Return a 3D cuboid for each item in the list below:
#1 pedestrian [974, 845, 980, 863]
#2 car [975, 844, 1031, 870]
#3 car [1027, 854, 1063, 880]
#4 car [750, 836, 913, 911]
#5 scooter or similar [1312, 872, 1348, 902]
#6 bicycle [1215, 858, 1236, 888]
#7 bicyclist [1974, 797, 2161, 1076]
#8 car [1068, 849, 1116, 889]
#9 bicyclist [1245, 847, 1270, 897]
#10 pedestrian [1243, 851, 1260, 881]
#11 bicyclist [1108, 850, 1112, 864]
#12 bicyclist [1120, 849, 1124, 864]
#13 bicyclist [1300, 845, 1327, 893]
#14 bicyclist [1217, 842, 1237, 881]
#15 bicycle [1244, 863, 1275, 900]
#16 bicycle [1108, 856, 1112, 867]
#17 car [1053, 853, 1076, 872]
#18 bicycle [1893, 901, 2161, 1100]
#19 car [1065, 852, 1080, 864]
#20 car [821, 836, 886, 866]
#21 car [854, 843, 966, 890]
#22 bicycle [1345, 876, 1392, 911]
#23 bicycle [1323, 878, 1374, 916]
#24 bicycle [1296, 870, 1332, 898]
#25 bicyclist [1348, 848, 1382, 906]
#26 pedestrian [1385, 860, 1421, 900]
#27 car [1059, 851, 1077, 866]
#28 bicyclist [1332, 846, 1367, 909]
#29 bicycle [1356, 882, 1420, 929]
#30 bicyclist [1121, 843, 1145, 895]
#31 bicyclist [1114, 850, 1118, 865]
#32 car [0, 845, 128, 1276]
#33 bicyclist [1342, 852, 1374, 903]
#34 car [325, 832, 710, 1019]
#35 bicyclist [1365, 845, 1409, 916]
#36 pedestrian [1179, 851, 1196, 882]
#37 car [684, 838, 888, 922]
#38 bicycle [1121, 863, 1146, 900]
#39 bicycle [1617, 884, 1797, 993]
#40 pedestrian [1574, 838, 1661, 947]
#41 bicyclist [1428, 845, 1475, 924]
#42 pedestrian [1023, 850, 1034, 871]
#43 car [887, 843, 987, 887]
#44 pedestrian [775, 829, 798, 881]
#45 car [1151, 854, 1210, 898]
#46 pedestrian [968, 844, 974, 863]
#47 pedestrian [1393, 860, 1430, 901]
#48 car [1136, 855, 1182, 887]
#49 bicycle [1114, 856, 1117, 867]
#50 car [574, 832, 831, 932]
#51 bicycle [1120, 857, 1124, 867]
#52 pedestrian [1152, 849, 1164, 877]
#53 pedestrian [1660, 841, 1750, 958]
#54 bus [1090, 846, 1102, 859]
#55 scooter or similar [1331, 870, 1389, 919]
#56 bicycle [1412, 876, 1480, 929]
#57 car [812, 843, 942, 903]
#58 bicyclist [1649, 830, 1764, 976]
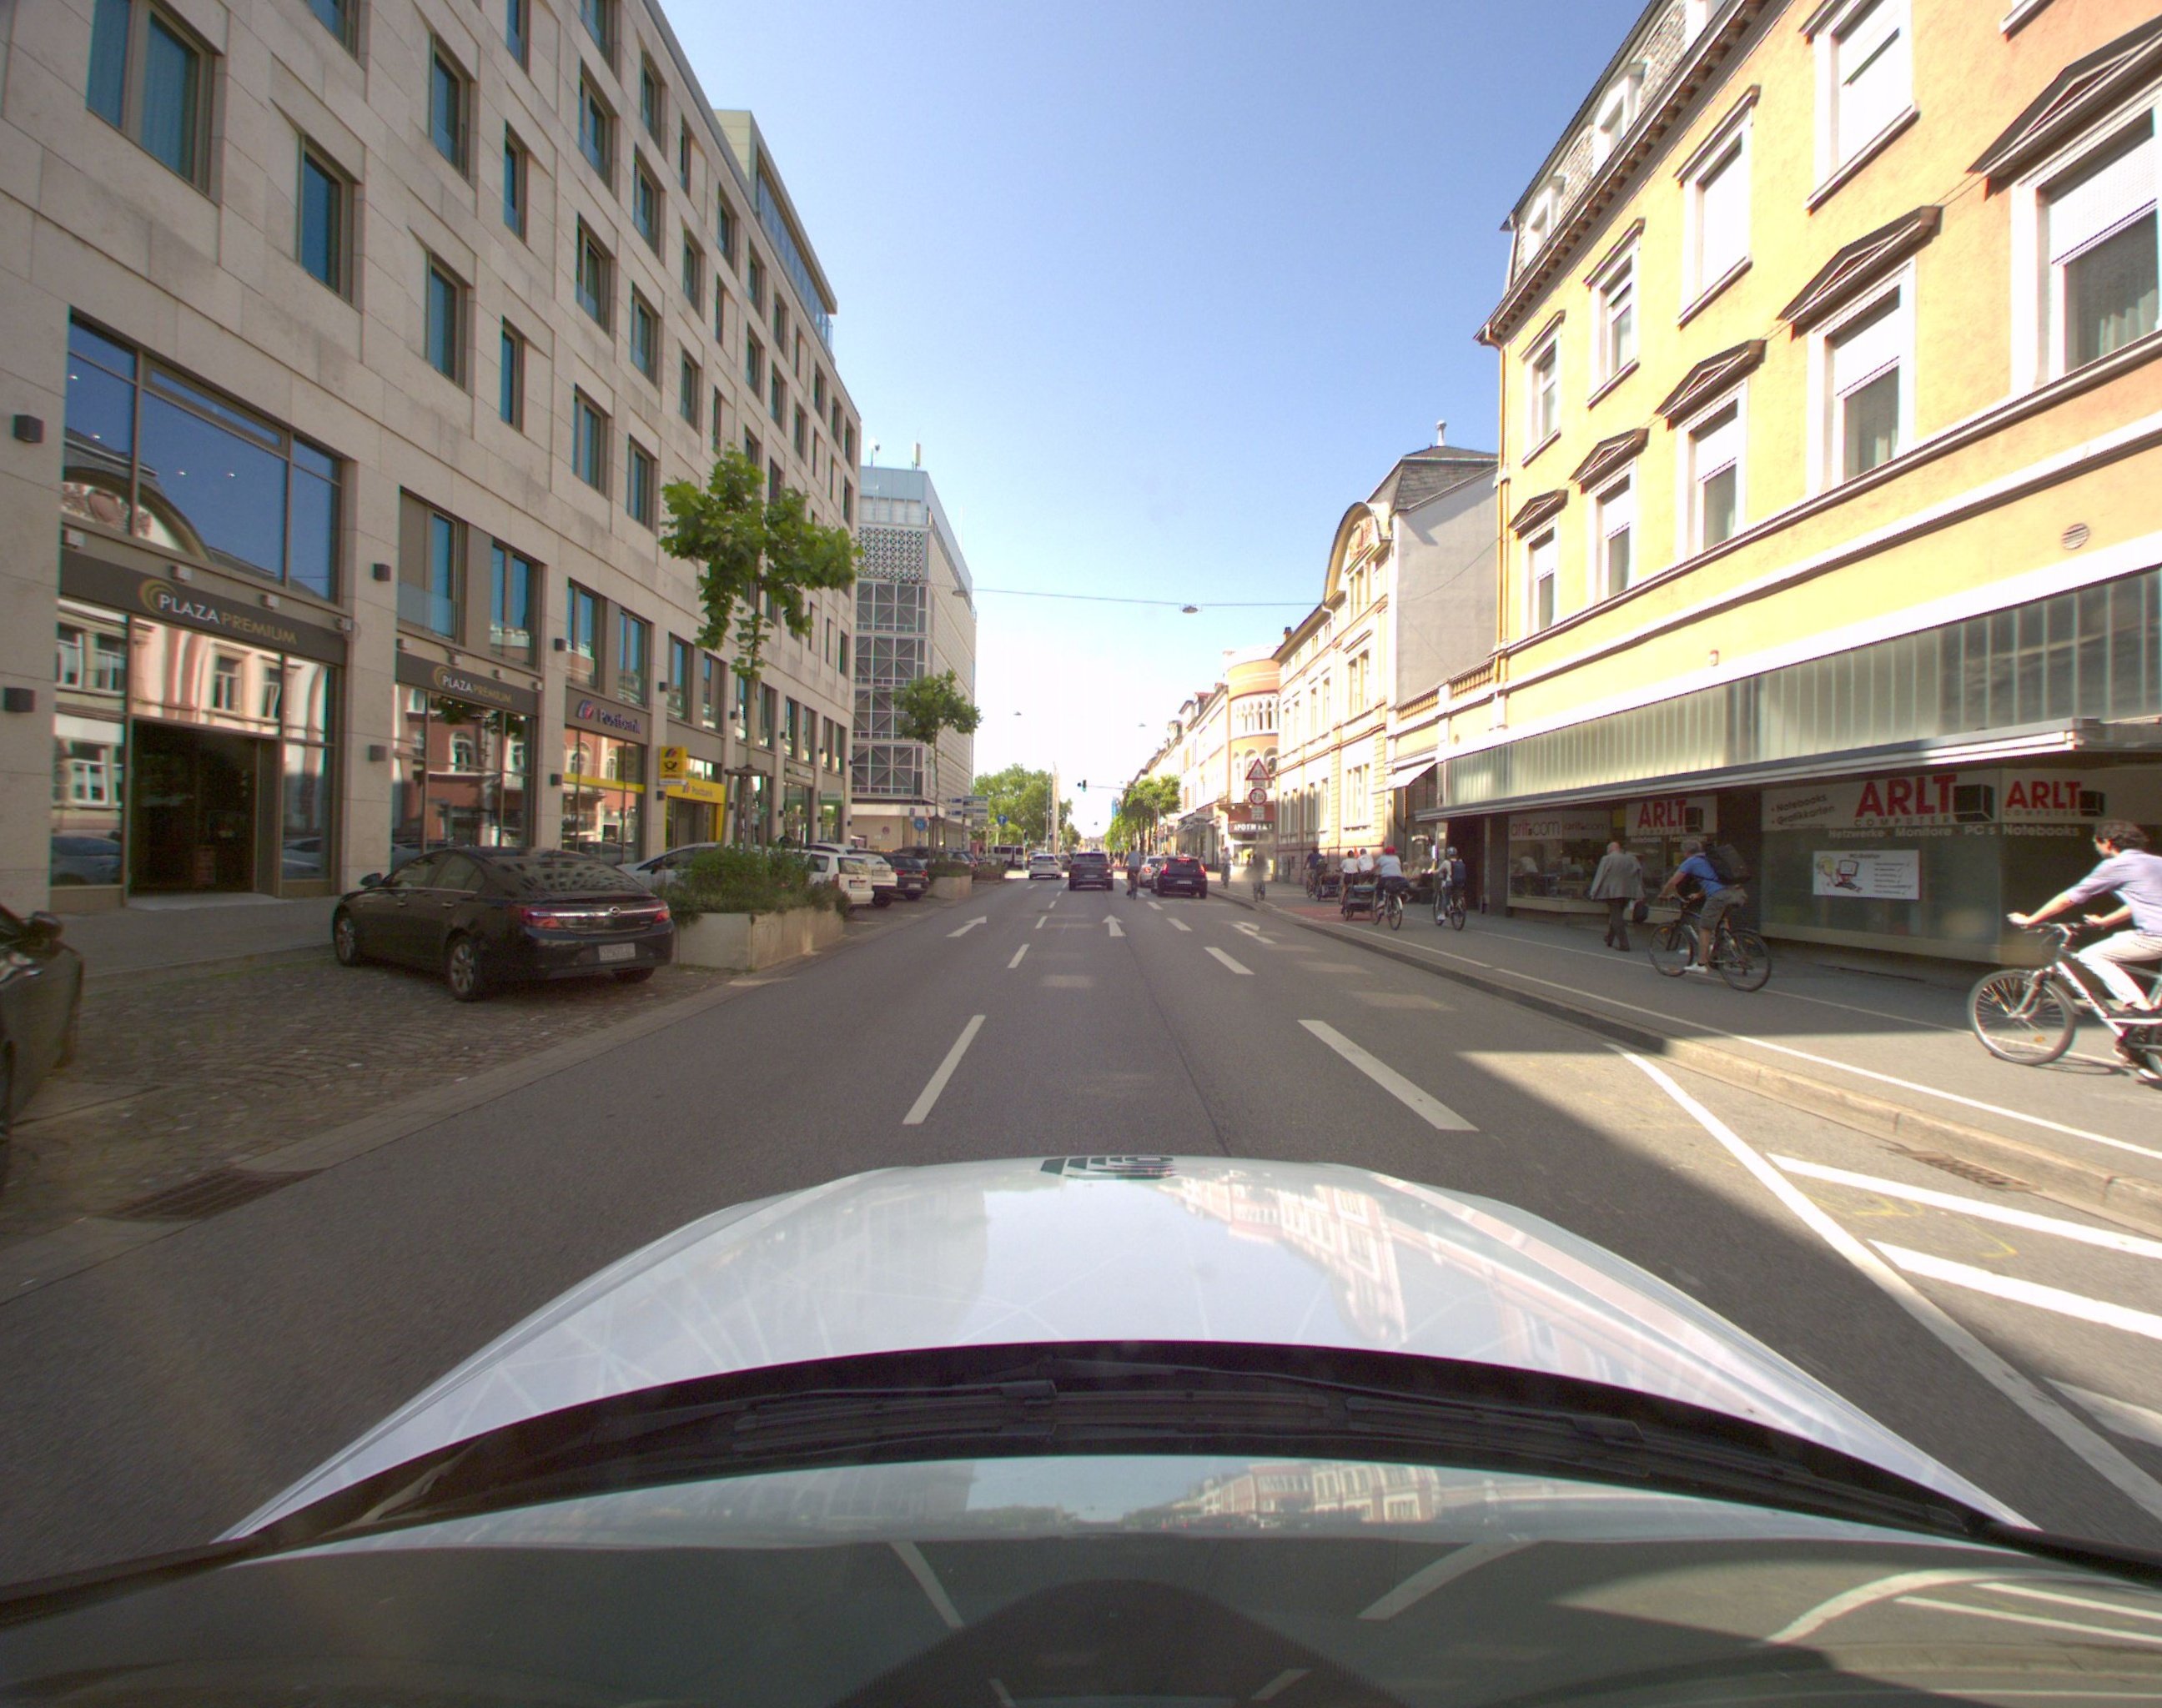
[{"bbox_3d":[-11.188,0.014,87.993,0.623,2.013,0.571,0,0,-6],"label":"pedestrian"},{"bbox_3d":[-6.621,0.264,69.183,4.664,2.004,1.953,2,-2,40],"label":"car"},{"bbox_3d":[-2.012,0.702,46.840,1.857,1.441,3.999,0,0,0],"label":"car"},{"bbox_3d":[-6.746,0.498,21.988,3.952,1.568,1.709,5,0,25],"label":"car"},{"bbox_3d":[8.035,1.049,26.366,0.849,0.919,1.165,0,0,2],"label":"scooter or similar"},{"bbox_3d":[6.372,0.824,35.966,0.553,1.209,2.243,2,1,1],"label":"bicycle"},{"bbox_3d":[7.095,0.523,5.678,0.644,1.769,1.013,0,0,1],"label":"bicyclist"},{"bbox_3d":[0.430,0.605,33.440,1.827,1.527,4.000,1,-1,0],"label":"car"},{"bbox_3d":[6.031,0.617,27.882,0.692,1.674,0.835,1,-3,1],"label":"bicyclist"},{"bbox_3d":[9.988,0.692,47.801,0.790,1.720,0.728,0,0,-5],"label":"pedestrian"},{"bbox_3d":[3.284,0.323,91.223,0.418,1.630,0.709,0,0,2],"label":"bicyclist"},{"bbox_3d":[4.515,0.318,89.768,0.418,1.630,0.709,0,0,2],"label":"bicyclist"},{"bbox_3d":[8.013,0.504,28.077,0.707,1.595,0.964,0,0,2],"label":"bicyclist"},{"bbox_3d":[6.440,0.313,35.901,0.692,1.673,0.836,3,0,1],"label":"bicyclist"},{"bbox_3d":[6.073,0.917,27.845,0.553,1.120,2.243,3,1,1],"label":"bicycle"},{"bbox_3d":[3.269,0.827,91.329,0.418,1.135,1.911,0,0,2],"label":"bicycle"},{"bbox_3d":[-1.271,0.622,63.608,1.737,1.441,3.999,0,0,0],"label":"car"},{"bbox_3d":[7.067,0.973,5.782,0.553,1.120,2.073,-1,1,1],"label":"bicycle"},{"bbox_3d":[-1.052,0.470,98.015,1.737,1.441,3.999,0,0,0],"label":"car"},{"bbox_3d":[-15.704,-0.227,56.273,3.978,2.013,1.932,0,0,-4],"label":"car"},{"bbox_3d":[-6.703,0.476,32.310,3.976,1.500,1.716,5,0,-2],"label":"car"},{"bbox_3d":[7.960,1.083,22.637,0.644,0.879,2.104,0,0,2],"label":"bicycle"},{"bbox_3d":[7.001,1.101,21.424,0.644,0.879,2.390,0,0,2],"label":"bicycle"},{"bbox_3d":[8.005,1.025,28.061,0.737,0.879,2.139,0,0,2],"label":"bicycle"},{"bbox_3d":[7.937,0.625,22.773,0.655,1.595,0.921,0,0,2],"label":"bicyclist"},{"bbox_3d":[10.379,0.830,26.238,0.931,1.269,0.568,-2,0,6],"label":"pedestrian"},{"bbox_3d":[-1.238,0.452,81.863,1.737,1.441,3.999,0,0,0],"label":"car"},{"bbox_3d":[7.013,0.604,21.302,0.629,1.595,0.921,0,-1,2],"label":"bicyclist"},{"bbox_3d":[6.518,1.063,17.396,0.644,0.879,2.104,0,0,2],"label":"bicycle"},{"bbox_3d":[1.744,0.487,27.232,0.692,1.673,0.916,3,1,1],"label":"bicyclist"},{"bbox_3d":[3.876,0.424,91.069,0.418,1.630,0.669,0,0,2],"label":"bicyclist"},{"bbox_3d":[-6.216,0.726,3.866,4.594,1.408,1.918,3,1,44],"label":"car"},{"bbox_3d":[6.974,0.582,20.519,0.621,1.248,0.608,0,0,2],"label":"bicyclist"},{"bbox_3d":[-6.377,0.625,9.117,4.300,1.513,1.844,3,0,30],"label":"car"},{"bbox_3d":[6.495,0.549,17.317,0.622,1.476,0.890,0,0,2],"label":"bicyclist"},{"bbox_3d":[6.311,0.750,48.210,0.655,1.809,0.723,1,0,-27],"label":"pedestrian"},{"bbox_3d":[-6.652,0.551,18.460,3.956,1.490,1.791,4,0,17],"label":"car"},{"bbox_3d":[1.744,0.899,27.156,0.662,1.120,2.243,3,1,1],"label":"bicycle"},{"bbox_3d":[7.564,0.963,9.989,0.644,1.120,2.103,0,0,1],"label":"bicycle"},{"bbox_3d":[8.786,0.619,13.371,0.875,1.718,0.835,0,-1,1],"label":"pedestrian"},{"bbox_3d":[7.732,0.615,17.029,0.580,1.595,0.921,0,0,2],"label":"bicyclist"},{"bbox_3d":[-4.051,0.504,62.844,0.616,1.615,0.545,2,-2,-30],"label":"pedestrian"},{"bbox_3d":[-6.280,0.476,35.742,3.976,1.545,1.716,5,0,-2],"label":"car"},{"bbox_3d":[-11.447,0.045,31.689,0.621,2.013,0.701,0,0,1],"label":"pedestrian"},{"bbox_3d":[3.607,0.781,30.102,1.815,1.409,3.188,3,1,1],"label":"car"},{"bbox_3d":[-11.842,-0.018,87.751,0.623,2.013,0.571,0,0,-6],"label":"pedestrian"},{"bbox_3d":[10.385,0.825,25.610,0.931,1.269,0.568,-2,0,6],"label":"pedestrian"},{"bbox_3d":[3.543,0.744,37.658,1.815,1.385,4.001,0,0,1],"label":"car"},{"bbox_3d":[3.857,0.846,91.003,0.418,1.135,1.911,0,0,2],"label":"bicycle"},{"bbox_3d":[-7.083,0.520,15.594,3.979,1.500,1.715,5,0,-4],"label":"car"},{"bbox_3d":[4.512,0.872,89.683,0.418,1.135,1.911,0,0,2],"label":"bicycle"},{"bbox_3d":[4.906,0.560,51.711,0.722,1.809,0.656,0,0,11],"label":"pedestrian"},{"bbox_3d":[9.352,0.658,12.241,0.644,1.684,0.945,0,0,1],"label":"pedestrian"},{"bbox_3d":[4.276,-0.361,228.767,2.763,3.605,8.964,0,0,-3],"label":"bus"},{"bbox_3d":[6.710,0.959,19.681,0.867,1.122,1.621,-1,-2,2],"label":"scooter or similar"},{"bbox_3d":[7.663,0.984,17.198,0.561,0.996,2.104,0,0,2],"label":"bicycle"},{"bbox_3d":[-6.371,0.573,25.259,3.950,1.459,1.680,6,0,37],"label":"car"},{"bbox_3d":[7.602,0.564,9.936,0.644,1.684,1.013,0,0,1],"label":"bicyclist"}]
